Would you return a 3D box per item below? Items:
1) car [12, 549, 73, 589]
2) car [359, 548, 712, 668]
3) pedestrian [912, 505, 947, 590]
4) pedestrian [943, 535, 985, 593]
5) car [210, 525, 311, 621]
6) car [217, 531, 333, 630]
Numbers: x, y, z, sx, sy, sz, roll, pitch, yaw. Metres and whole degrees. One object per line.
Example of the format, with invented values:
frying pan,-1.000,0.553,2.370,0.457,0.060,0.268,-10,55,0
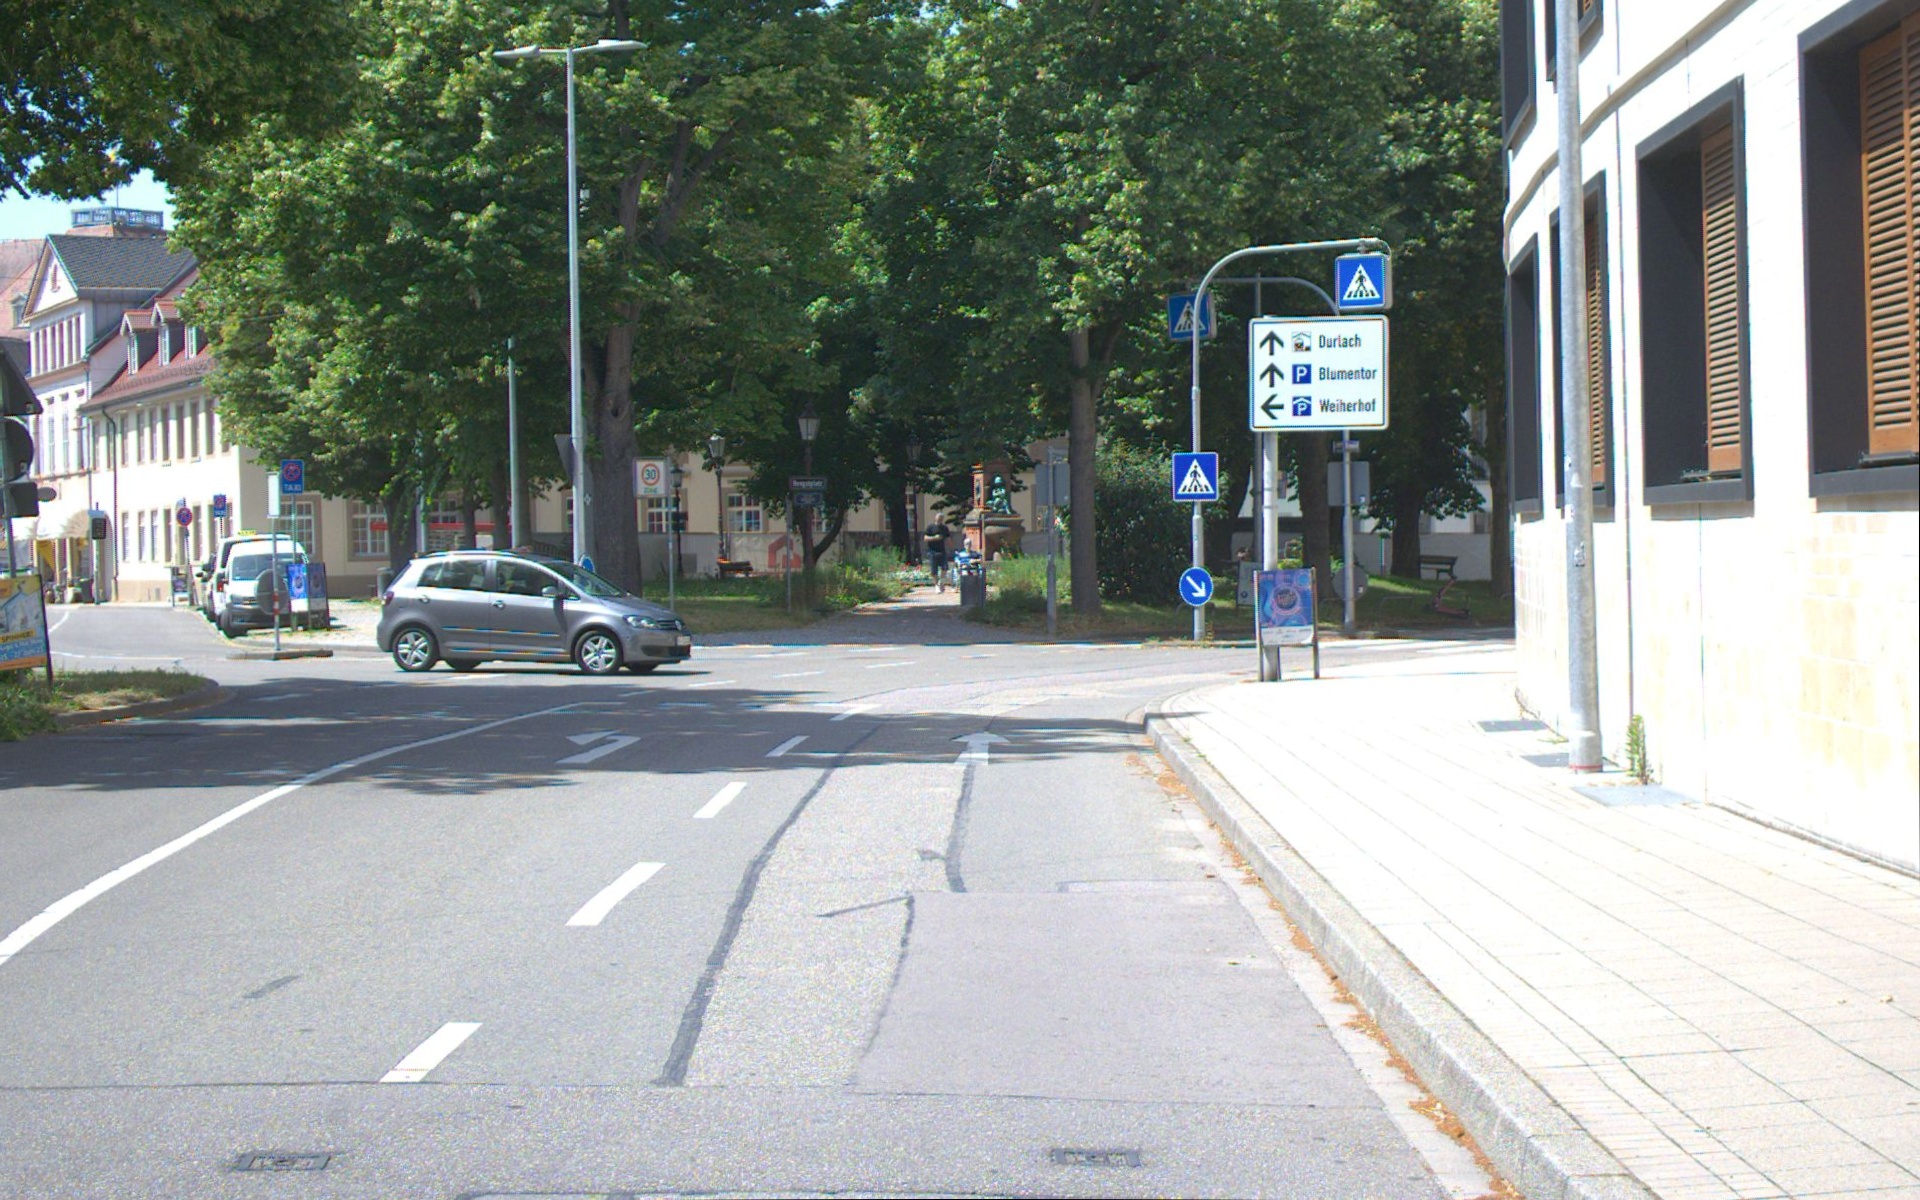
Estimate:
car,-34.485,-1.161,129.157,1.860,1.481,4.001,-1,1,-20
car,-5.594,0.092,45.431,4.233,1.528,1.908,0,0,16
pedestrian,-0.689,-1.182,77.888,0.748,1.904,0.684,0,2,2
pedestrian,0.088,-0.809,77.146,0.906,1.247,1.148,0,2,2
car,-15.203,-0.591,74.588,2.049,1.996,5.250,-1,1,-12
car,-13.265,-0.393,66.442,1.993,1.820,4.424,-1,1,-14
